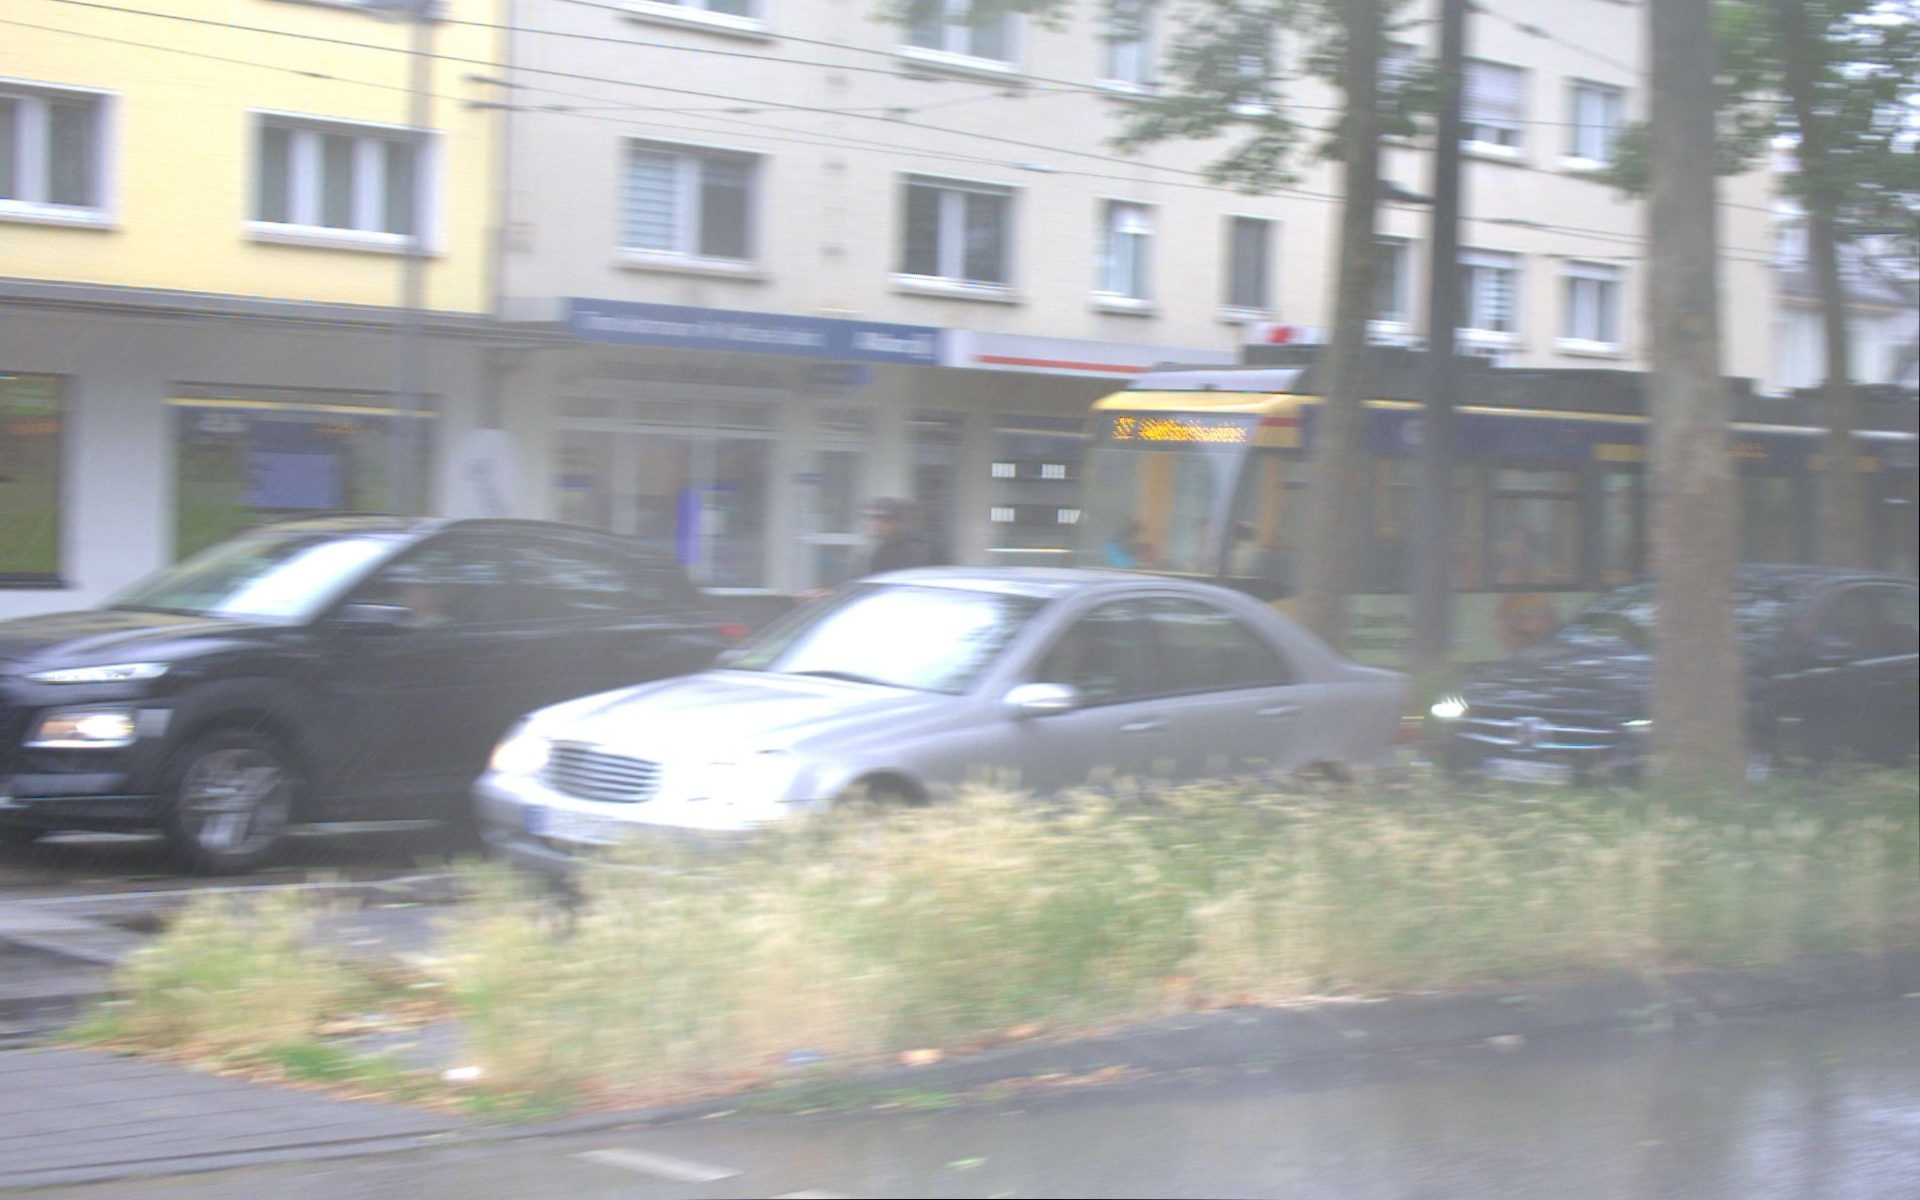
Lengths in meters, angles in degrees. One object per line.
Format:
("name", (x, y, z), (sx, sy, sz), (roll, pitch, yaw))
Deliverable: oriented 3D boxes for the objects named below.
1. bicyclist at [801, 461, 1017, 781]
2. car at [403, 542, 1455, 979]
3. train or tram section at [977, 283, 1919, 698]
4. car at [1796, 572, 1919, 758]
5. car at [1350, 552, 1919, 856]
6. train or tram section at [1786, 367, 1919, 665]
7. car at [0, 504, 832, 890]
("bicyclist", (-0.278, 0.115, 18.985), (0.714, 1.710, 0.888), (2, 0, 40))
("car", (0.028, 0.558, 14.334), (1.739, 1.484, 4.489), (3, 2, 43))
("train or tram section", (6.326, -0.998, 35.744), (3.114, 3.546, 14.540), (3, 2, 43))
("car", (8.711, 0.515, 28.184), (1.746, 1.393, 4.119), (3, 2, 43))
("car", (4.415, 0.523, 19.815), (1.861, 1.480, 4.628), (3, 2, 43))
("train or tram section", (16.223, -1.012, 46.442), (3.114, 3.546, 14.639), (3, 2, 42))
("car", (-2.709, 0.354, 15.798), (1.878, 1.496, 4.274), (3, 2, 38))
